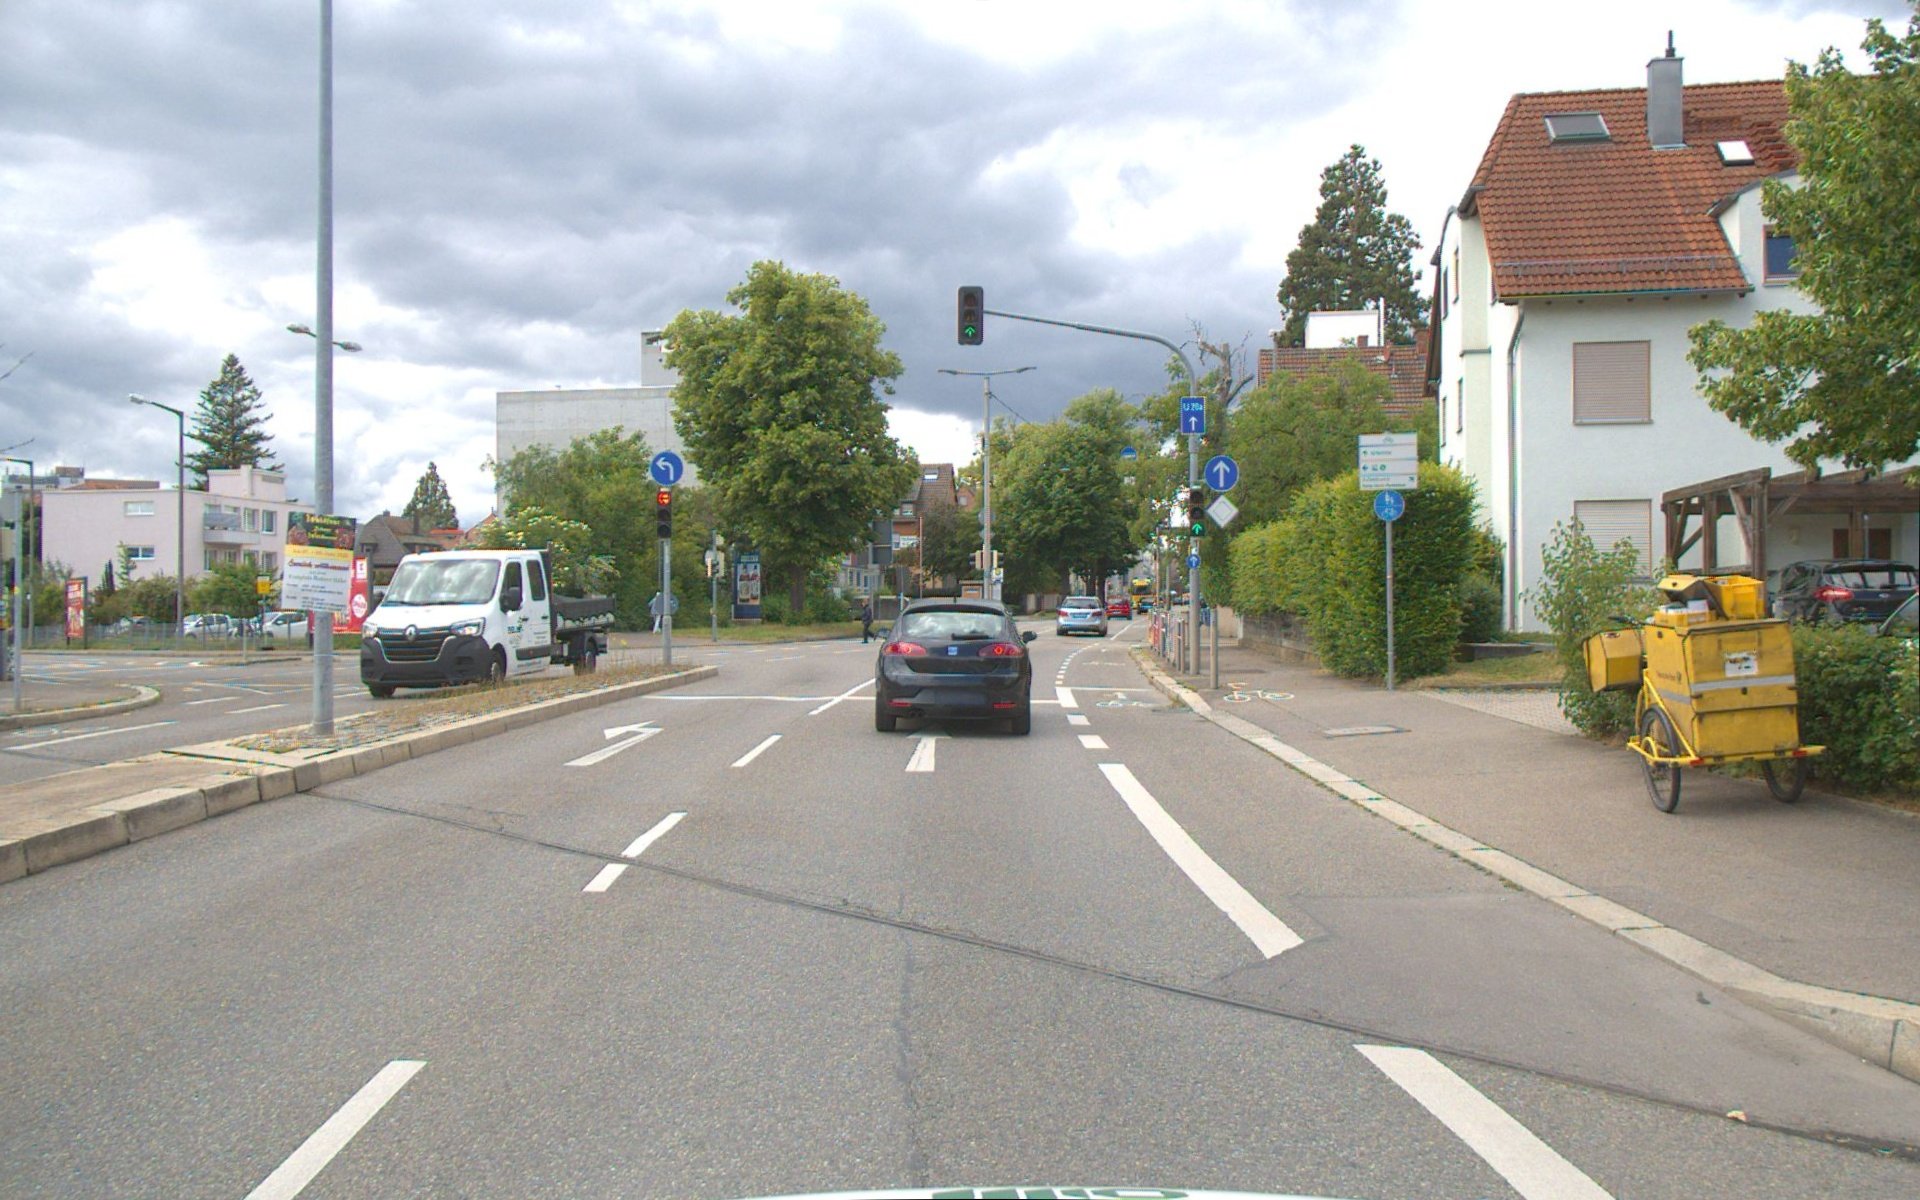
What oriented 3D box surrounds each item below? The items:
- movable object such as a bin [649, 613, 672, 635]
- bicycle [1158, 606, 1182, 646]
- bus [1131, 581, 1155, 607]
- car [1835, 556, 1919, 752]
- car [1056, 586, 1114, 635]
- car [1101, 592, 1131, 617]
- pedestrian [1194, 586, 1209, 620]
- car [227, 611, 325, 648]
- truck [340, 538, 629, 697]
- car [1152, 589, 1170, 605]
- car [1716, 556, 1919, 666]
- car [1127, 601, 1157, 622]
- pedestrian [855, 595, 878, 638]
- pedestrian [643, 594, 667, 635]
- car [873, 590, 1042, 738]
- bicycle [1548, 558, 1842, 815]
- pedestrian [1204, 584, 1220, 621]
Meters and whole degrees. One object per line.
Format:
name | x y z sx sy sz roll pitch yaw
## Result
movable object such as a bin | -11.418 0.900 63.125 0.641 0.812 0.898 -1 0 6
bicycle | 5.642 0.686 44.529 0.614 1.046 1.505 0 0 6
bus | 22.821 -0.778 206.023 2.807 3.191 6.402 -1 0 8
car | 8.380 0.432 12.924 1.634 1.530 4.064 0 2 11
car | 4.775 0.361 62.925 1.780 1.729 4.257 -1 1 10
car | 10.074 0.266 106.601 1.900 1.507 4.256 -1 1 6
pedestrian | 11.131 0.143 76.136 0.538 1.543 0.361 -3 0 17
car | -30.845 1.321 74.677 1.760 1.581 3.999 -1 0 23
truck | -7.697 0.243 27.761 2.080 2.304 6.811 -1 0 7
car | 21.021 -0.318 172.890 1.809 1.624 4.109 -1 0 7
car | 12.854 0.148 24.647 1.632 1.475 4.003 -1 0 5
car | 15.246 0.961 138.498 1.951 1.713 4.003 -1 0 14
pedestrian | -3.233 0.571 57.080 0.758 1.432 0.600 2 1 -5
pedestrian | -11.494 0.543 62.434 0.641 1.549 0.924 -1 0 6
car | 0.019 0.658 19.051 1.723 1.474 3.715 1 1 1
bicycle | 5.074 0.528 11.701 0.873 1.536 2.784 -5 0 3
pedestrian | 11.126 0.096 73.091 0.532 1.582 0.471 -4 0 0
